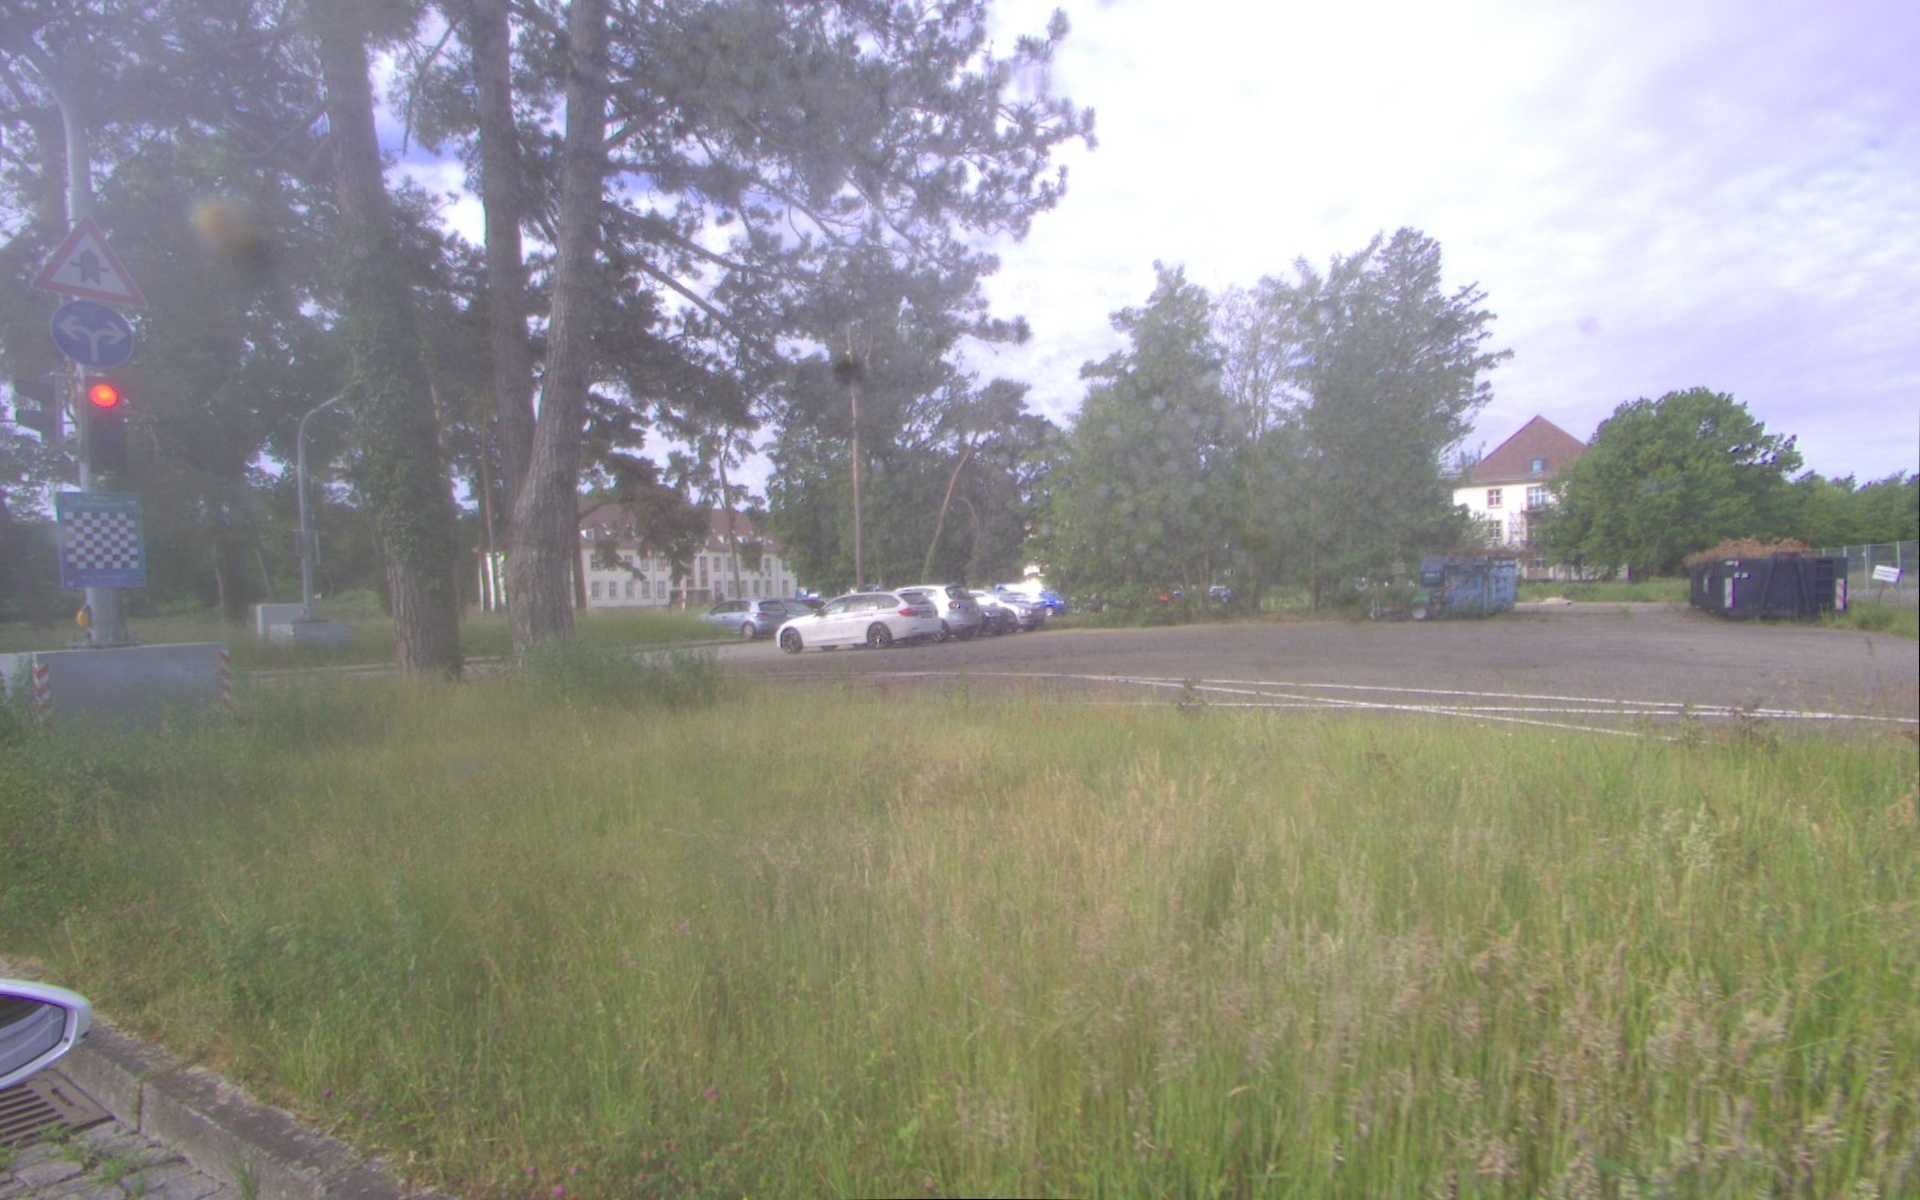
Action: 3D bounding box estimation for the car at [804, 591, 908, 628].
[{"bbox_3d":[-4.663,0.442,44.568,4.380,1.545,1.750,-1,1,29],"label":"car"}]

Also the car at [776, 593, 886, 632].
[{"bbox_3d":[-5.456,0.522,42.176,4.380,1.545,1.750,-1,1,29],"label":"car"}]

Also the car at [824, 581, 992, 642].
[{"bbox_3d":[-1.475,0.320,28.139,4.380,1.598,1.864,-1,1,29],"label":"car"}]

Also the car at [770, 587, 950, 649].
[{"bbox_3d":[-2.594,0.482,25.800,4.380,1.434,1.750,-2,1,29],"label":"car"}]

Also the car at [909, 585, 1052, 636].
[{"bbox_3d":[0.674,0.348,33.232,4.380,1.598,1.864,-1,1,29],"label":"car"}]

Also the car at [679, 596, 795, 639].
[{"bbox_3d":[-8.517,0.666,38.087,4.386,1.545,1.747,-1,1,33],"label":"car"}]

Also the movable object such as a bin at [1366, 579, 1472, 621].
[{"bbox_3d":[12.333,-0.018,26.923,2.505,1.098,1.060,0,2,31],"label":"movable object such as a bin"}]

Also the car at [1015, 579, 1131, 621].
[{"bbox_3d":[4.627,-0.009,41.130,4.380,1.598,1.864,-1,1,29],"label":"car"}]

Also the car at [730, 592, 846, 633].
[{"bbox_3d":[-6.881,0.515,39.931,4.379,1.545,1.750,-1,1,28],"label":"car"}]

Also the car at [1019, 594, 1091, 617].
[{"bbox_3d":[5.657,0.342,59.940,3.942,1.225,1.654,-2,0,31],"label":"car"}]

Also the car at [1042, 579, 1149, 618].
[{"bbox_3d":[6.087,-0.056,45.047,4.380,1.598,1.864,-1,1,29],"label":"car"}]

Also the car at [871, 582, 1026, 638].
[{"bbox_3d":[-0.377,0.309,30.552,4.380,1.598,1.864,-1,1,29],"label":"car"}]

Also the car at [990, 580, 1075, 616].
[{"bbox_3d":[4.159,-0.107,57.678,4.586,1.994,1.750,-1,1,29],"label":"car"}]

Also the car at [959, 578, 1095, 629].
[{"bbox_3d":[2.338,0.131,35.214,4.380,1.709,1.864,-1,1,29],"label":"car"}]

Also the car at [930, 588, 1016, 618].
[{"bbox_3d":[0.700,0.186,54.832,4.380,1.545,1.750,-1,1,29],"label":"car"}]

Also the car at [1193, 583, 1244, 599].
[{"bbox_3d":[22.216,-0.770,86.075,3.937,1.226,1.656,-1,1,27],"label":"car"}]
